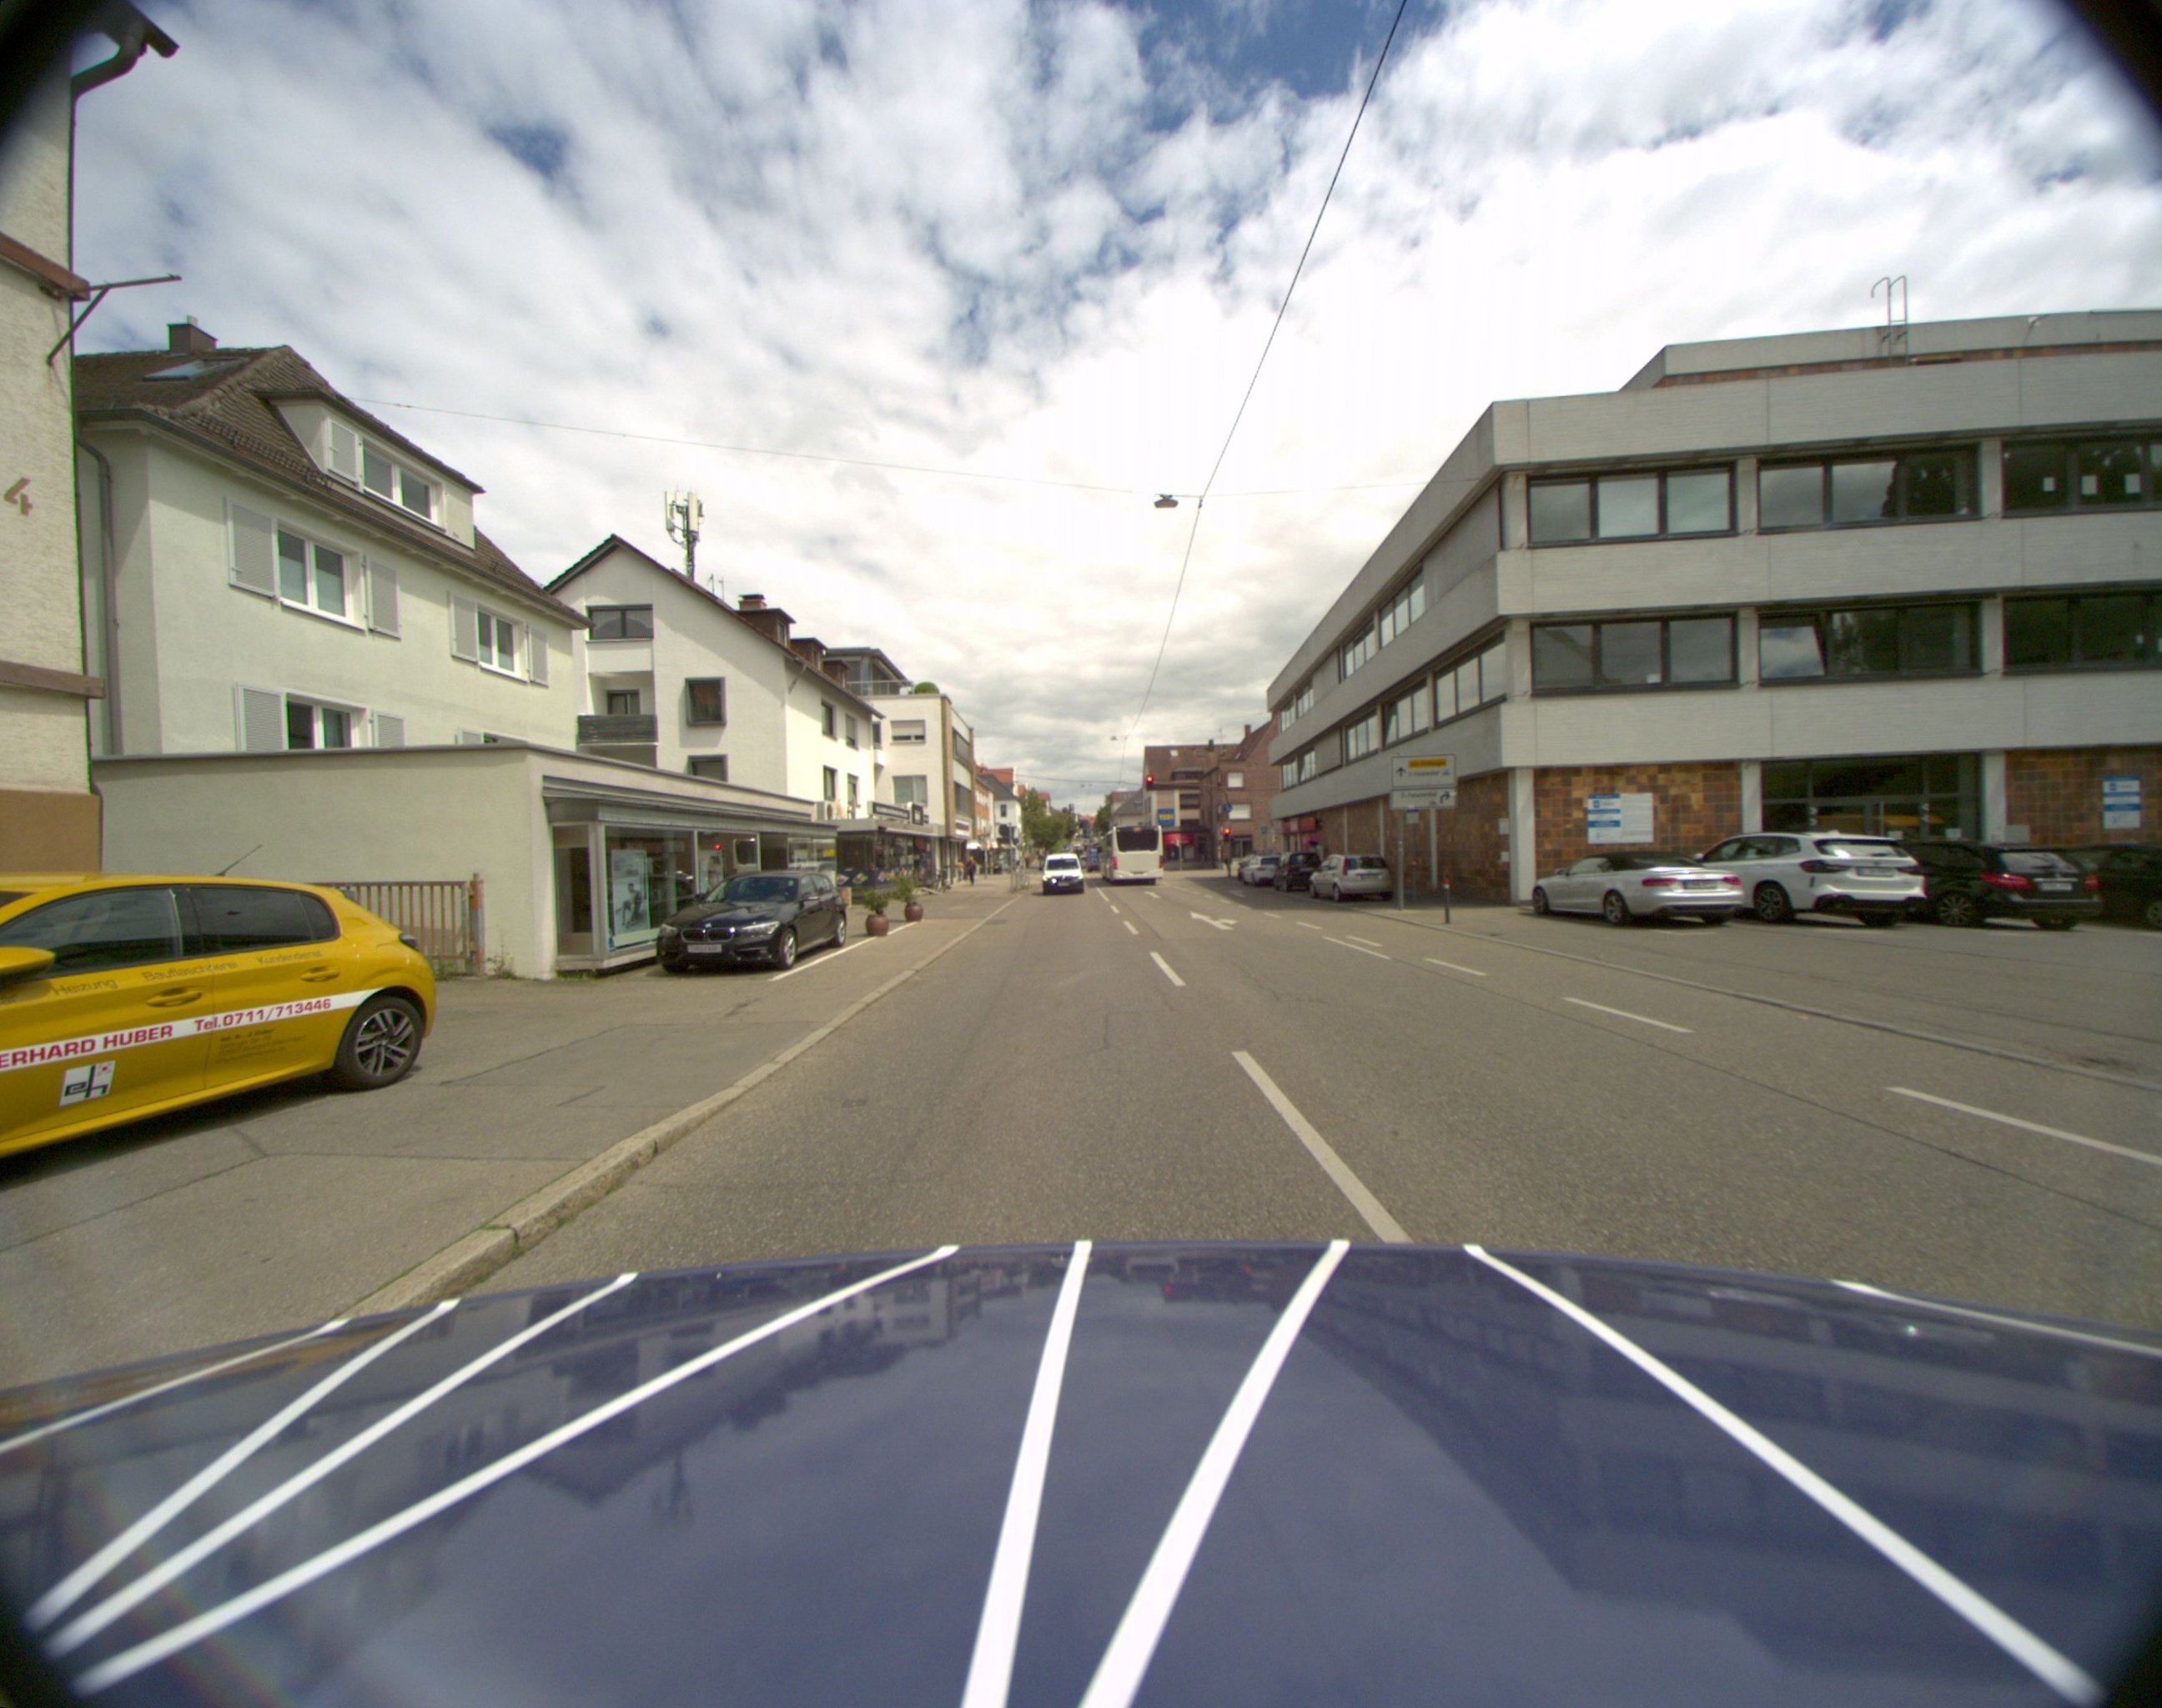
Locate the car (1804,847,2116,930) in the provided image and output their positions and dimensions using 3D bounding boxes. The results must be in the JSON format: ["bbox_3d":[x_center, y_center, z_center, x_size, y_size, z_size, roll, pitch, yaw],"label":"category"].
[{"bbox_3d":[16.202,0.568,14.331,1.767,1.323,3.605,-1,0,2],"label":"car"}]

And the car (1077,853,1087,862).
[{"bbox_3d":[0.219,0.610,139.482,1.681,1.626,2.833,-1,0,-2],"label":"car"}]

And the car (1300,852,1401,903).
[{"bbox_3d":[8.405,0.688,24.106,1.726,1.413,4.148,-3,0,1],"label":"car"}]

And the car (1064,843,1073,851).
[{"bbox_3d":[-3.075,-1.706,186.358,2.150,1.747,3.973,-1,0,0],"label":"car"}]

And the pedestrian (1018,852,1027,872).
[{"bbox_3d":[-5.519,0.739,71.479,0.581,1.820,0.882,0,1,16],"label":"pedestrian"}]

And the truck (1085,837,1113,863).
[{"bbox_3d":[2.173,-0.483,93.339,2.861,3.075,8.086,-1,0,-2],"label":"truck"}]

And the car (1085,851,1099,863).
[{"bbox_3d":[1.729,0.475,119.851,1.950,1.810,4.278,-1,0,-1],"label":"car"}]

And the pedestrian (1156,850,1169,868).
[{"bbox_3d":[7.784,0.455,72.374,0.908,1.713,0.849,-2,1,-42],"label":"pedestrian"}]

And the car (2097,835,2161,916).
[{"bbox_3d":[21.854,0.392,13.413,1.926,1.569,4.497,-1,0,3],"label":"car"}]

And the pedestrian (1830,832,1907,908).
[{"bbox_3d":[17.785,0.352,17.178,0.719,1.662,0.995,0,1,5],"label":"pedestrian"}]

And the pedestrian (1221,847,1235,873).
[{"bbox_3d":[9.491,0.401,49.061,0.719,1.635,0.682,-3,0,4],"label":"pedestrian"}]

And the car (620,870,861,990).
[{"bbox_3d":[-5.129,1.043,12.263,1.973,1.439,4.534,-1,0,-2],"label":"car"}]

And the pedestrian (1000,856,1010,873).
[{"bbox_3d":[-7.061,0.993,70.580,0.779,1.517,0.819,-1,0,2],"label":"pedestrian"}]

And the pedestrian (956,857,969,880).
[{"bbox_3d":[-7.765,0.944,49.911,0.681,1.490,0.720,-1,1,-1],"label":"pedestrian"}]

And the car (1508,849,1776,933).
[{"bbox_3d":[10.732,0.614,15.117,1.955,1.350,4.856,-2,0,4],"label":"car"}]

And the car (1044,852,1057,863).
[{"bbox_3d":[-5.045,0.585,124.623,1.999,1.654,3.999,-1,0,-1],"label":"car"}]

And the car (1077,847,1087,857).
[{"bbox_3d":[0.173,-0.466,157.781,1.954,1.866,4.875,-1,1,-2],"label":"car"}]

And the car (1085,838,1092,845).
[{"bbox_3d":[2.316,-3.883,233.883,1.982,1.985,5.027,-1,0,-2],"label":"car"}]

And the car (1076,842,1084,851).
[{"bbox_3d":[-0.342,-1.703,178.219,1.819,1.919,4.112,-1,0,0],"label":"car"}]

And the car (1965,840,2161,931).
[{"bbox_3d":[19.574,0.532,14.294,1.767,1.537,3.605,-1,0,2],"label":"car"}]

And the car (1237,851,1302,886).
[{"bbox_3d":[8.888,0.639,36.211,2.049,1.436,4.953,-3,0,3],"label":"car"}]

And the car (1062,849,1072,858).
[{"bbox_3d":[-2.923,-0.138,158.928,2.150,1.747,3.973,-1,0,0],"label":"car"}]

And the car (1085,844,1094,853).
[{"bbox_3d":[2.025,-1.283,186.714,2.111,2.109,4.764,-2,0,-1],"label":"car"}]

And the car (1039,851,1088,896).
[{"bbox_3d":[-0.825,0.813,34.673,2.000,1.797,4.764,-3,0,-2],"label":"car"}]

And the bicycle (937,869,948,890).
[{"bbox_3d":[-6.910,1.261,38.017,0.476,1.022,1.634,-1,0,-10],"label":"bicycle"}]

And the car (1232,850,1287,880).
[{"bbox_3d":[9.692,0.573,41.651,2.049,1.467,4.285,-3,0,1],"label":"car"}]

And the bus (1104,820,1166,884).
[{"bbox_3d":[2.863,-0.123,42.348,2.723,3.145,8.067,-1,0,-1],"label":"bus"}]

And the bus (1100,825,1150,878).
[{"bbox_3d":[2.801,-0.167,51.437,2.689,3.145,10.183,-1,0,0],"label":"bus"}]

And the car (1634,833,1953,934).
[{"bbox_3d":[13.358,0.476,14.822,1.955,1.610,4.932,1,0,6],"label":"car"}]

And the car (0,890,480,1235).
[{"bbox_3d":[-5.560,0.936,3.752,1.882,1.438,4.308,-1,-2,-2],"label":"car"}]

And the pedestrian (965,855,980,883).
[{"bbox_3d":[-6.489,0.896,45.513,0.797,1.661,0.807,-1,1,-1],"label":"pedestrian"}]

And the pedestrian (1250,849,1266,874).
[{"bbox_3d":[11.419,0.473,49.148,0.820,1.545,0.846,-3,0,5],"label":"pedestrian"}]

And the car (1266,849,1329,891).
[{"bbox_3d":[8.607,0.611,30.445,1.740,1.547,3.057,-3,0,3],"label":"car"}]

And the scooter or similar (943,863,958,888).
[{"bbox_3d":[-6.999,1.132,40.732,0.690,1.260,1.184,-1,1,-13],"label":"scooter or similar"}]
